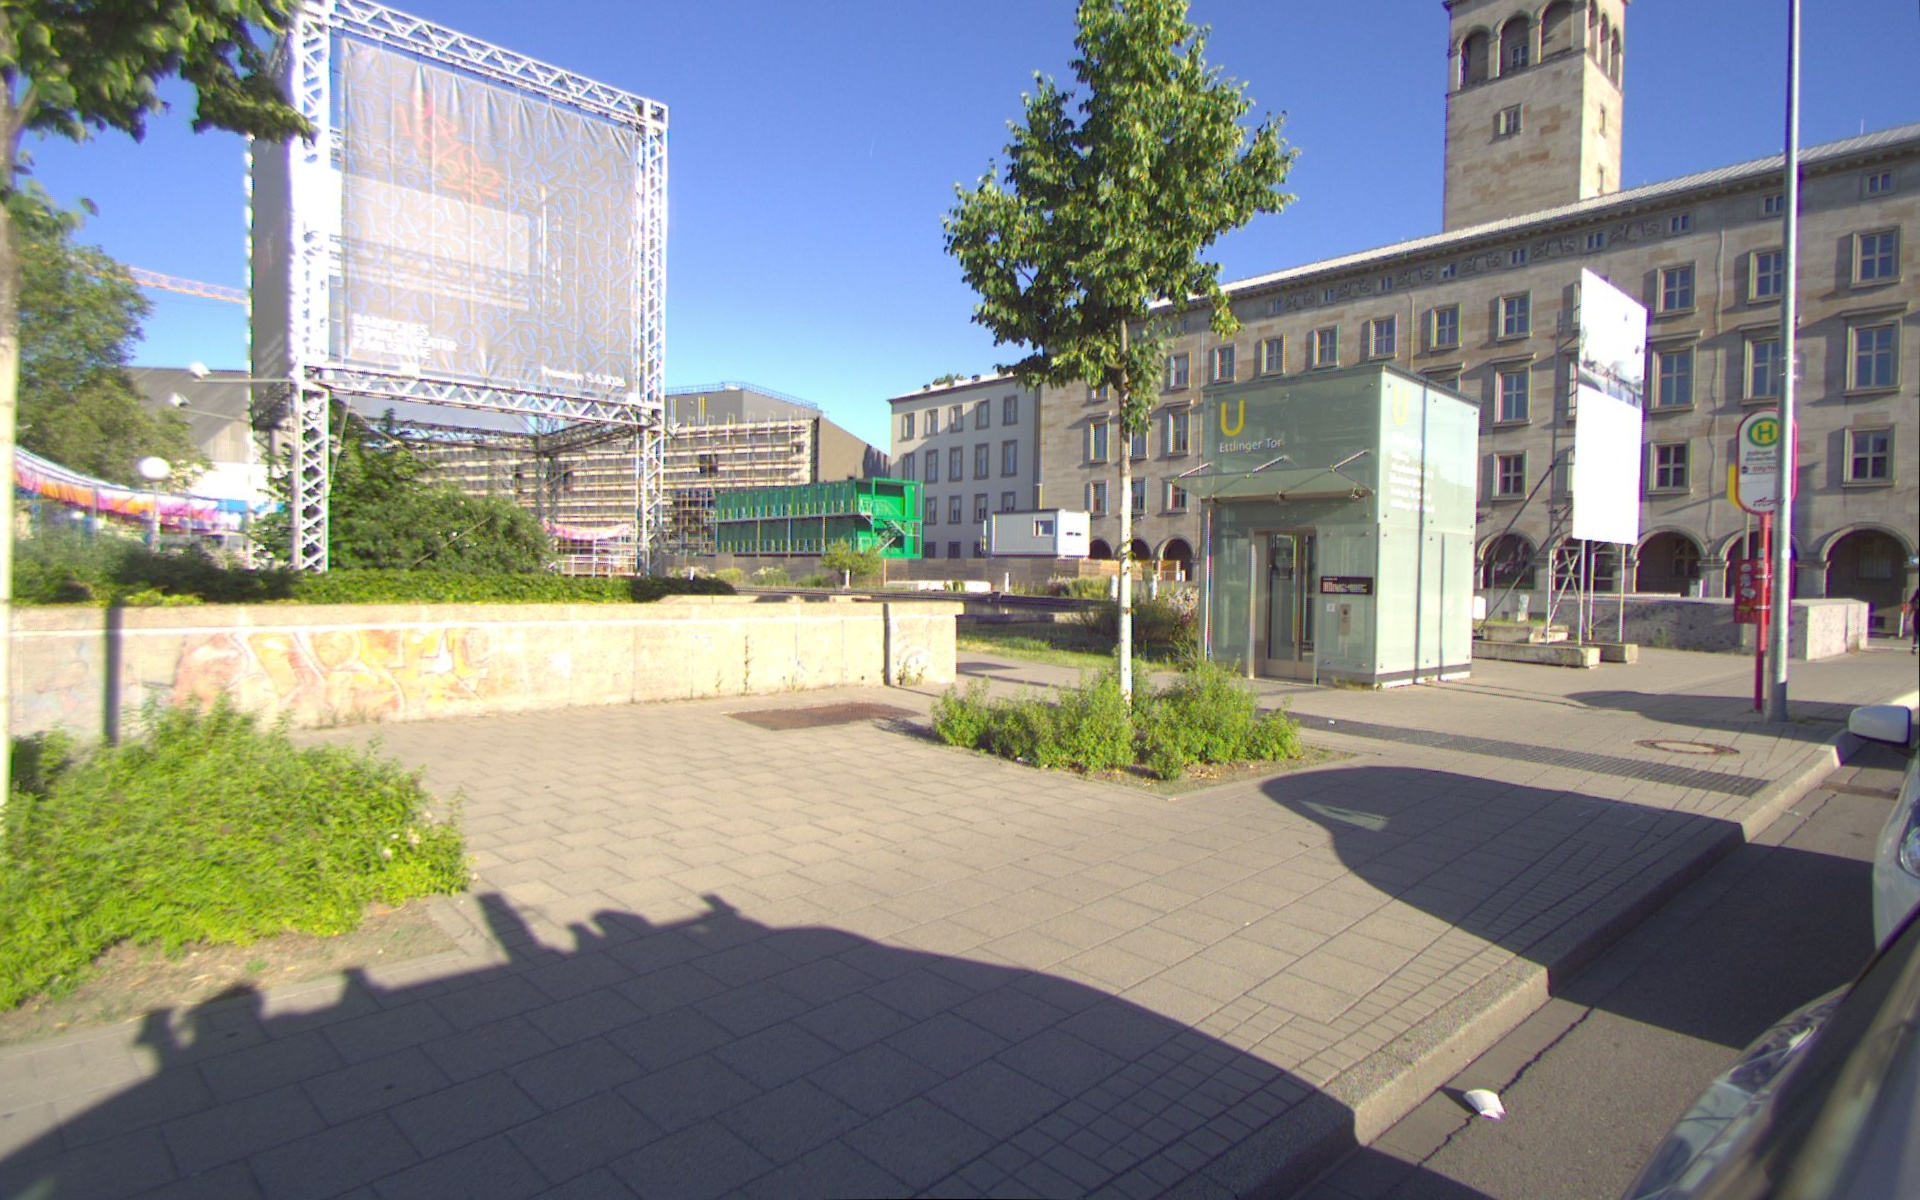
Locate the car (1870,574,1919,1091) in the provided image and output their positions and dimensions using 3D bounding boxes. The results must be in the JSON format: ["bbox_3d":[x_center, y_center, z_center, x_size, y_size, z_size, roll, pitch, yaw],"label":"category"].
[{"bbox_3d":[4.651,0.680,3.667,3.930,1.473,1.518,0,2,-41],"label":"car"}]
